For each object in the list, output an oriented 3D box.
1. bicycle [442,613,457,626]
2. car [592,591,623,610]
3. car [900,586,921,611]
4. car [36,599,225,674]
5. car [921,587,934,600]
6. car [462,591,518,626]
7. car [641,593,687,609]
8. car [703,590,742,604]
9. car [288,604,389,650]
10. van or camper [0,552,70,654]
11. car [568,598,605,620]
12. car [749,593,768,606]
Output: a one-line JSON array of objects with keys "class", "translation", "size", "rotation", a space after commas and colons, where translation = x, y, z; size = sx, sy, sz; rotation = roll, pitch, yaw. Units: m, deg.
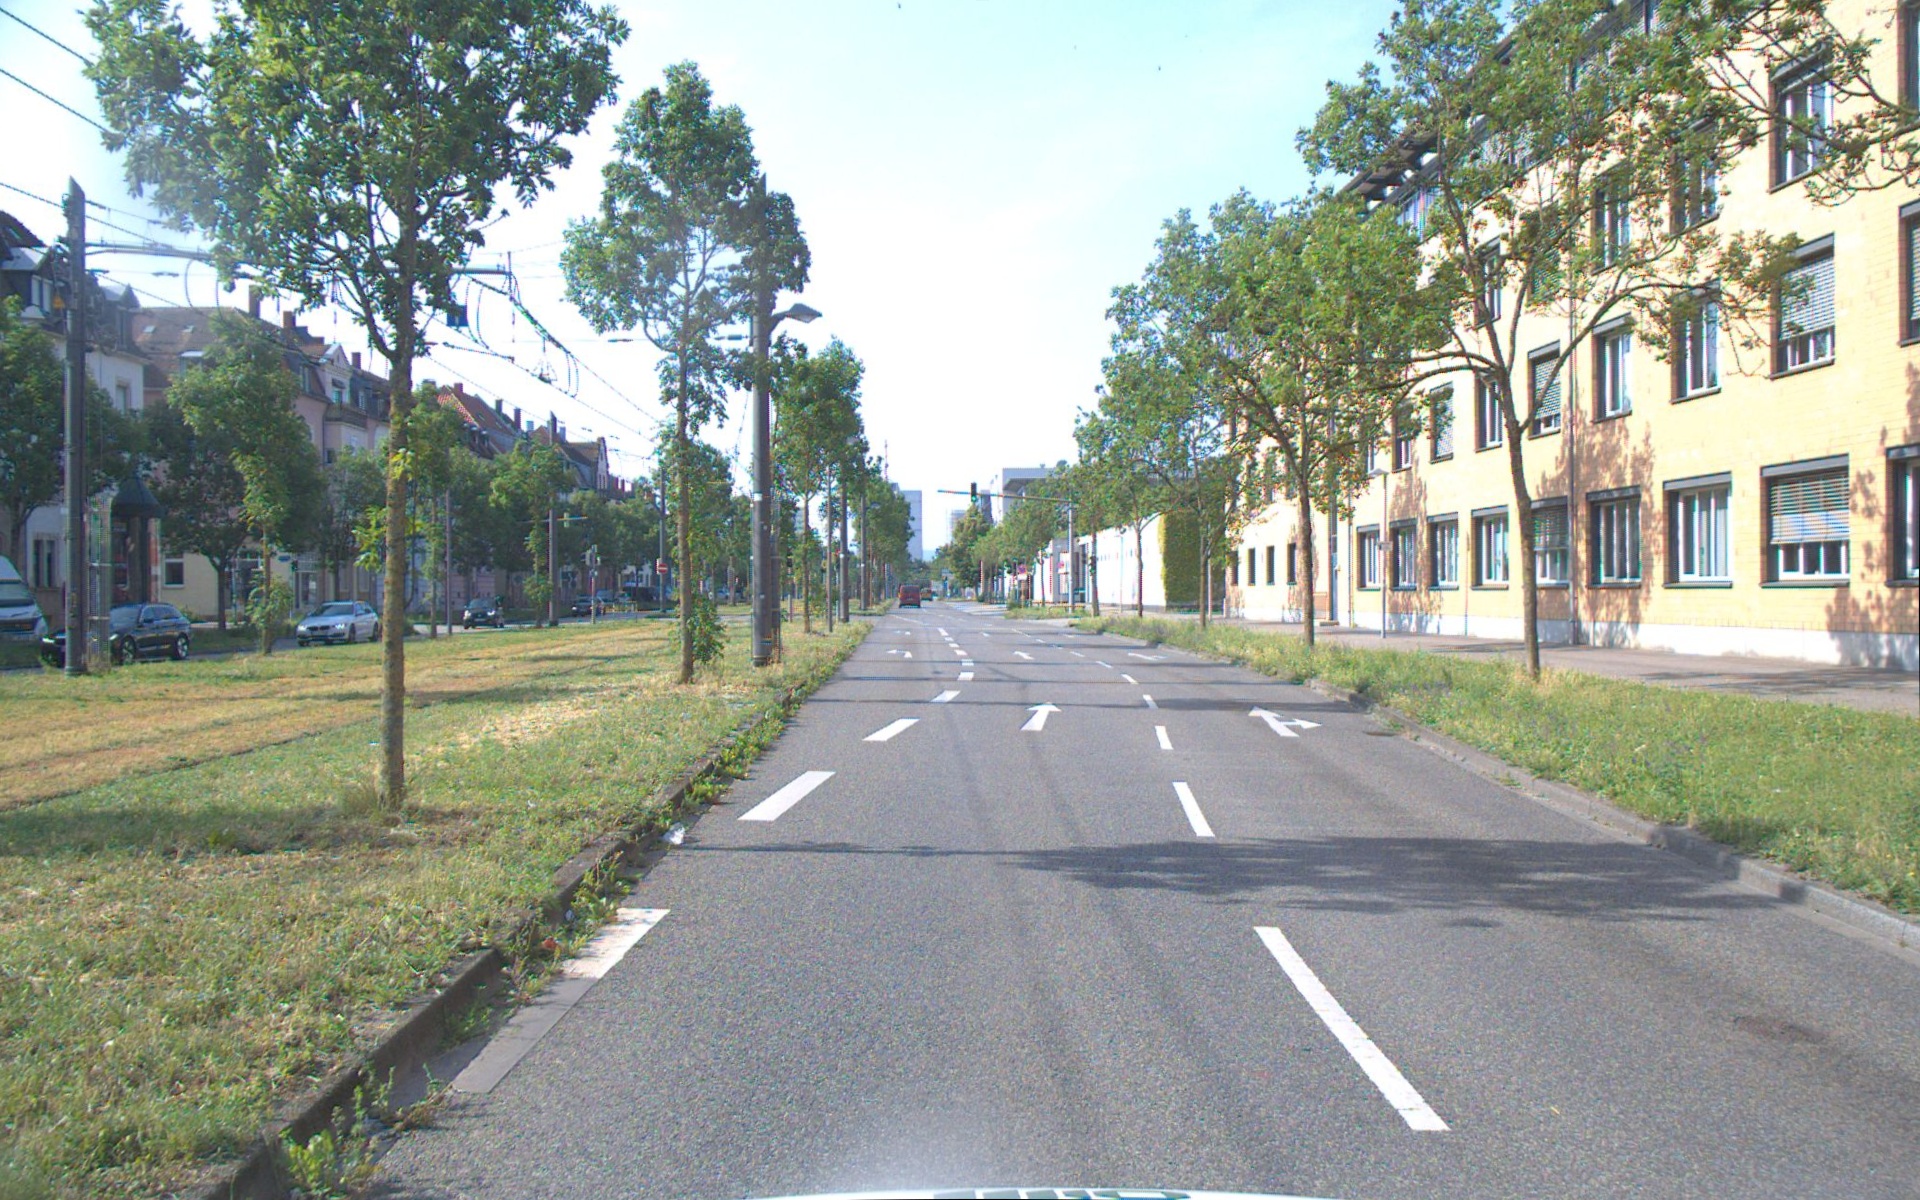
[{"class": "bicycle", "translation": [-33.183, 1.259, 107.495], "size": [0.428, 0.803, 1.946], "rotation": [2, 0, -3]}, {"class": "car", "translation": [-31.473, 0.019, 147.738], "size": [1.954, 1.657, 4.772], "rotation": [2, 0, -4]}, {"class": "car", "translation": [-4.185, -0.116, 139.531], "size": [1.713, 2.049, 3.215], "rotation": [2, 0, -1]}, {"class": "car", "translation": [-20.321, 0.855, 40.846], "size": [1.953, 1.658, 5.379], "rotation": [2, 0, -1]}, {"class": "car", "translation": [-4.452, -0.871, 225.441], "size": [1.713, 1.679, 3.215], "rotation": [2, 0, -1]}, {"class": "car", "translation": [-23.822, 0.433, 83.905], "size": [1.729, 1.684, 3.999], "rotation": [2, 0, -2]}, {"class": "car", "translation": [-29.314, 0.088, 163.936], "size": [4.386, 1.444, 1.968], "rotation": [1, 0, 35]}, {"class": "car", "translation": [-32.318, -0.429, 225.300], "size": [5.214, 1.768, 1.995], "rotation": [1, 0, 32]}, {"class": "car", "translation": [-21.556, 0.905, 57.552], "size": [1.908, 1.485, 4.646], "rotation": [2, 0, -3]}, {"class": "van or camper", "translation": [-26.707, 0.028, 44.610], "size": [5.802, 2.618, 2.193], "rotation": [1, 0, 33]}, {"class": "car", "translation": [-26.276, 0.644, 116.457], "size": [1.776, 1.458, 3.924], "rotation": [2, 0, -3]}, {"class": "car", "translation": [-26.821, -0.036, 220.063], "size": [1.925, 1.723, 4.296], "rotation": [2, 0, -1]}]
